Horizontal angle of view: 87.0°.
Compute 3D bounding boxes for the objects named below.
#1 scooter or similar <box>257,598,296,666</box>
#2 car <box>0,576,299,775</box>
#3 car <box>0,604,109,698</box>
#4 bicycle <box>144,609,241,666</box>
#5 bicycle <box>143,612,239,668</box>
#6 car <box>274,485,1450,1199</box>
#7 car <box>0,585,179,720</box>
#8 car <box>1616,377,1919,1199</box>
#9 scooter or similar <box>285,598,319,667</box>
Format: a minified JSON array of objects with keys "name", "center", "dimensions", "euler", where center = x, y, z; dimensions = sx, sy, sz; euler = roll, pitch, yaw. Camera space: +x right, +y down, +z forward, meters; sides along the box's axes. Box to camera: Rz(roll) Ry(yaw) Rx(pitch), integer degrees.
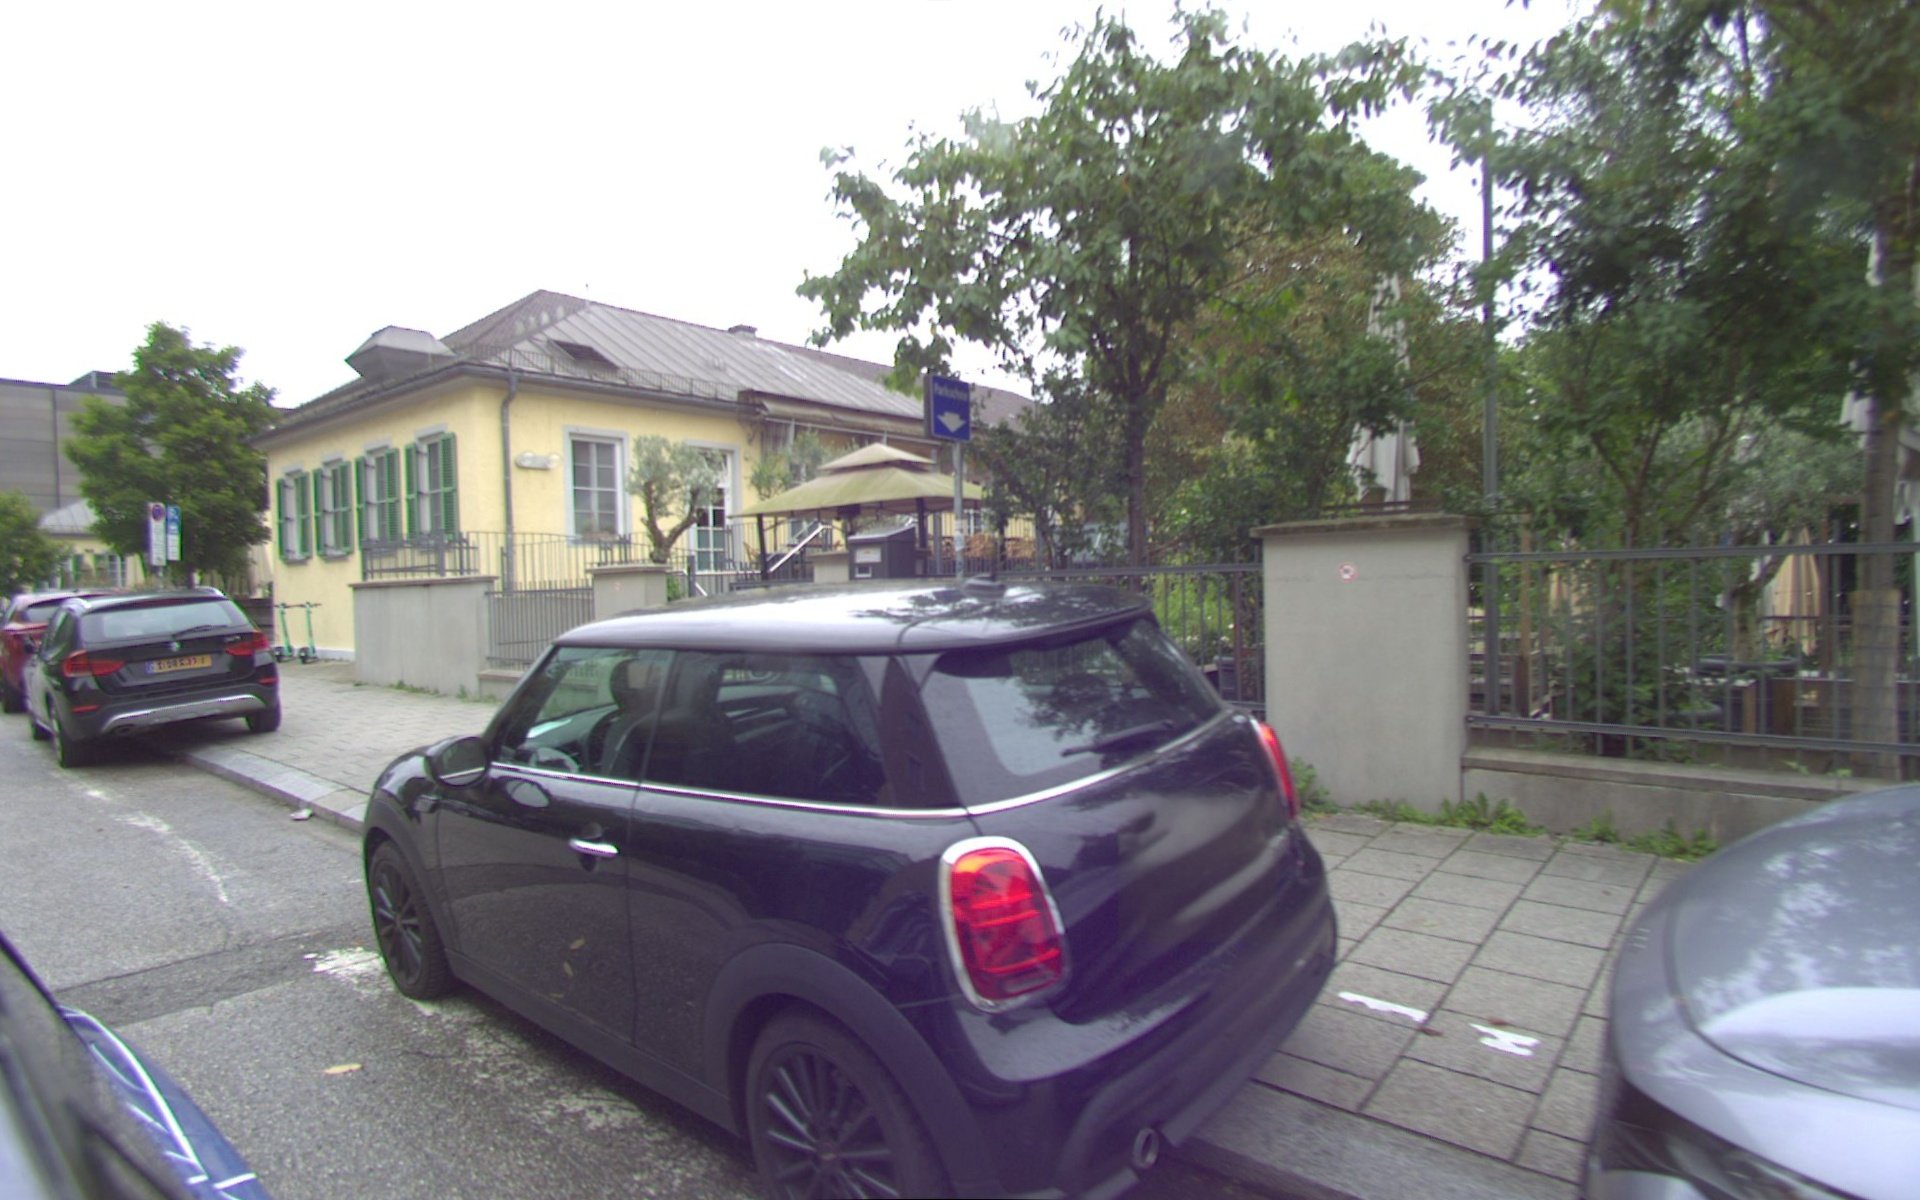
[{"name":"scooter or similar","center":[-14.161,0.638,20.985],"dimensions":[0.370,1.353,1.357],"euler":[-2,1,-23]},{"name":"car","center":[-8.867,0.652,10.858],"dimensions":[4.742,1.619,1.826],"euler":[-1,2,43]},{"name":"car","center":[-17.944,0.930,19.162],"dimensions":[4.649,1.530,1.878],"euler":[-1,2,39]},{"name":"bicycle","center":[-17.252,0.826,22.777],"dimensions":[0.352,1.180,1.684],"euler":[-1,1,39]},{"name":"bicycle","center":[-17.033,0.862,22.450],"dimensions":[0.387,1.145,1.612],"euler":[-1,1,39]},{"name":"car","center":[-0.778,0.636,3.593],"dimensions":[4.187,1.556,1.839],"euler":[-1,-1,43]},{"name":"car","center":[-13.836,0.719,15.677],"dimensions":[4.807,1.704,1.882],"euler":[-1,2,42]},{"name":"car","center":[3.045,0.526,0.237],"dimensions":[4.690,1.555,1.869],"euler":[-1,1,38]},{"name":"scooter or similar","center":[-13.136,0.626,20.212],"dimensions":[0.358,1.324,1.257],"euler":[-2,1,-25]}]
